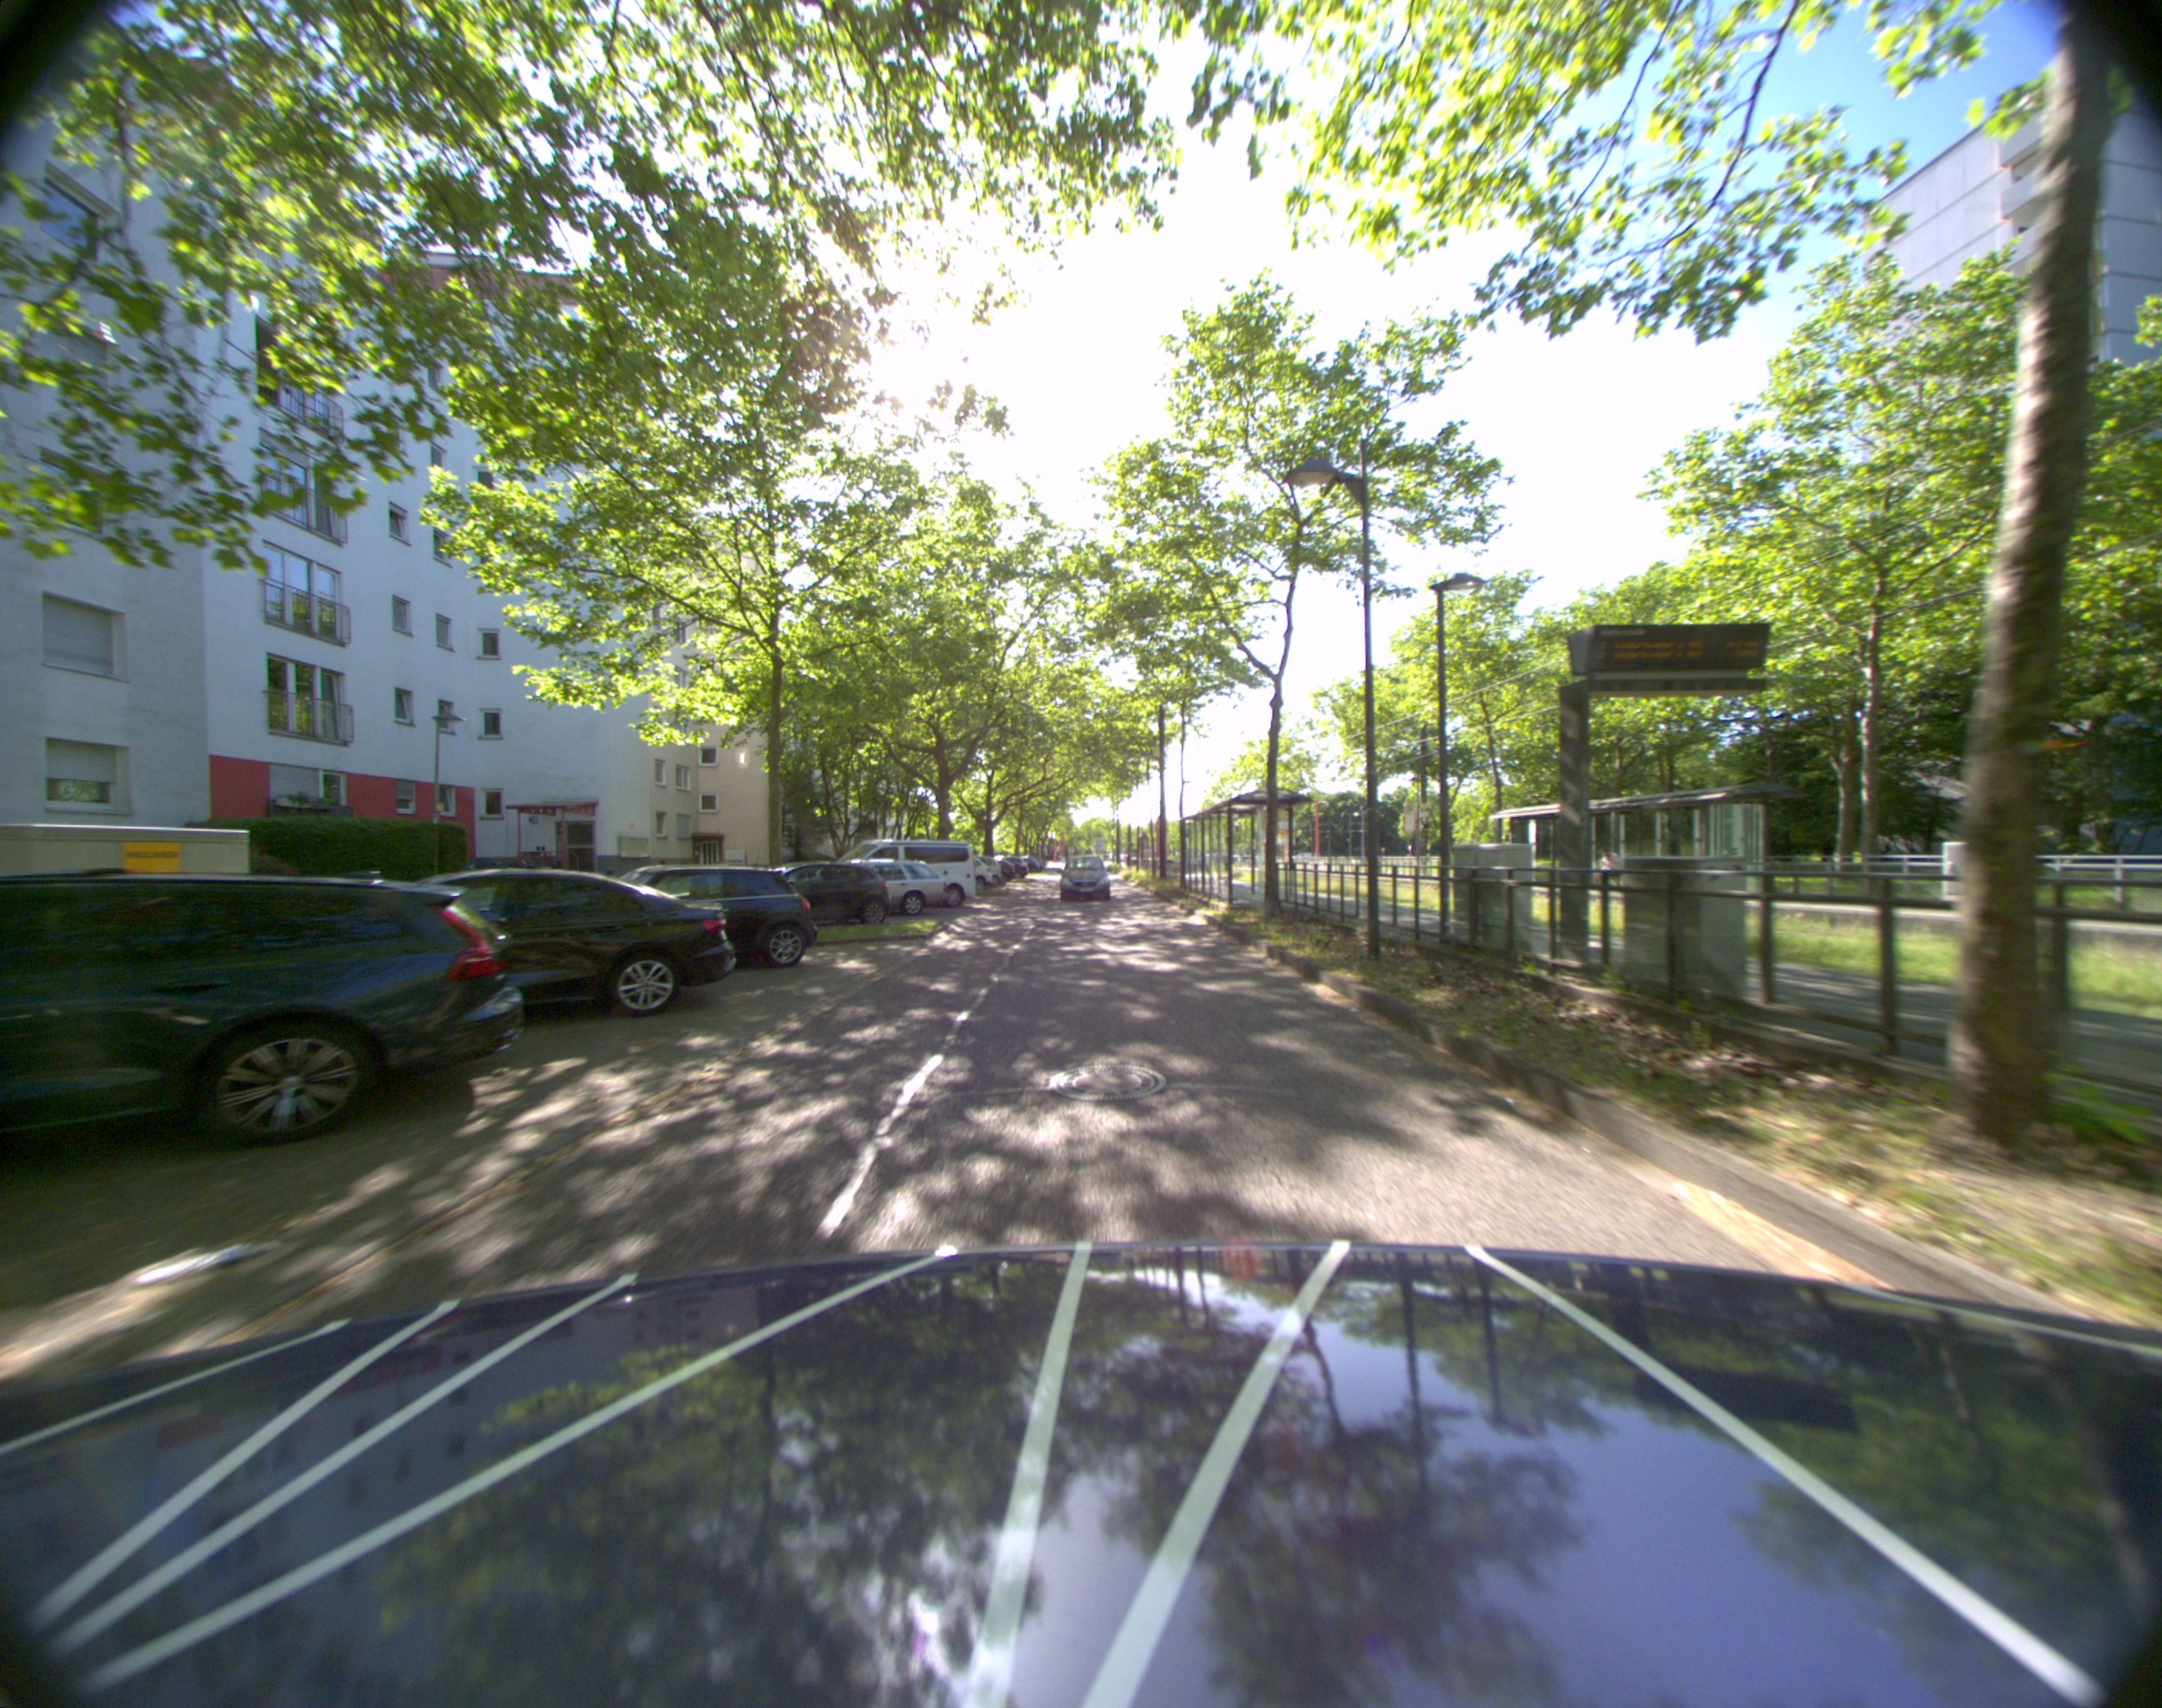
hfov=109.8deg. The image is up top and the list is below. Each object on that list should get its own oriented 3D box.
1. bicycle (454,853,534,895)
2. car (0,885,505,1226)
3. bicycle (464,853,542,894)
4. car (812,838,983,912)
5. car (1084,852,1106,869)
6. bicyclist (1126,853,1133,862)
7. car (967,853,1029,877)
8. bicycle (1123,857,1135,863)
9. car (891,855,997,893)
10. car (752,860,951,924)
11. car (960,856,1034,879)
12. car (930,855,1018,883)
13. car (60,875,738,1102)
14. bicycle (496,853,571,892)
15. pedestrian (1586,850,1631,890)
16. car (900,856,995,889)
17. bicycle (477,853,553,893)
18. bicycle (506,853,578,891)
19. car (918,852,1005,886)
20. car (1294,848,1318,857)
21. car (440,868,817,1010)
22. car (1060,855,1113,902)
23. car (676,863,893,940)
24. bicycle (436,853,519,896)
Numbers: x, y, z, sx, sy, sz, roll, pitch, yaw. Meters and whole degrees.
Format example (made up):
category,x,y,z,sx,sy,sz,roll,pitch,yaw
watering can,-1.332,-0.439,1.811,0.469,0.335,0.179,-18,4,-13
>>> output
category,x,y,z,sx,sy,sz,roll,pitch,yaw
bicycle,-16.763,0.575,21.706,1.799,1.123,0.500,2,0,-5
car,-5.733,0.951,3.956,4.266,1.453,1.795,1,0,-40
bicycle,-16.898,0.562,22.217,1.799,1.123,0.500,2,0,-5
car,-5.512,0.607,23.131,4.600,2.040,2.011,1,0,-40
car,1.241,0.592,69.814,1.799,1.530,3.999,0,0,-1
bicyclist,7.958,0.646,125.423,0.955,1.469,0.704,-1,1,24
car,-5.802,0.764,53.467,4.008,1.566,1.795,1,0,-40
bicycle,7.959,0.980,125.432,1.896,1.101,0.704,-1,1,24
car,-5.784,0.835,32.418,1.794,1.501,4.221,2,0,43
car,-5.842,0.920,19.697,4.600,1.415,1.795,1,0,-41
car,-5.372,0.831,49.022,4.600,1.414,1.795,1,0,-45
car,-5.869,0.835,41.933,4.418,1.420,1.946,1,0,-39
car,-5.748,0.958,7.130,4.266,1.453,1.795,1,0,-40
bicycle,-16.794,0.565,23.324,1.799,1.123,0.550,2,0,-5
pedestrian,15.597,0.467,22.481,0.768,1.176,0.763,1,0,1
car,-6.146,0.862,35.306,4.009,1.411,1.826,1,0,-45
bicycle,-16.913,0.562,22.742,1.799,1.123,0.500,2,0,-5
bicycle,-16.929,0.557,23.874,1.799,1.123,0.500,2,0,-5
car,-6.035,0.764,38.497,4.009,1.580,1.795,1,0,-42
car,42.991,-0.270,145.153,3.990,1.501,1.803,-1,0,26
car,-5.833,0.945,10.079,4.009,1.459,1.777,1,0,-42
car,0.191,0.843,27.972,1.799,1.580,3.763,0,0,0
car,-6.247,0.926,16.245,3.932,1.408,1.794,1,0,-43
bicycle,-16.793,0.567,21.170,1.799,1.123,0.500,2,0,-5
